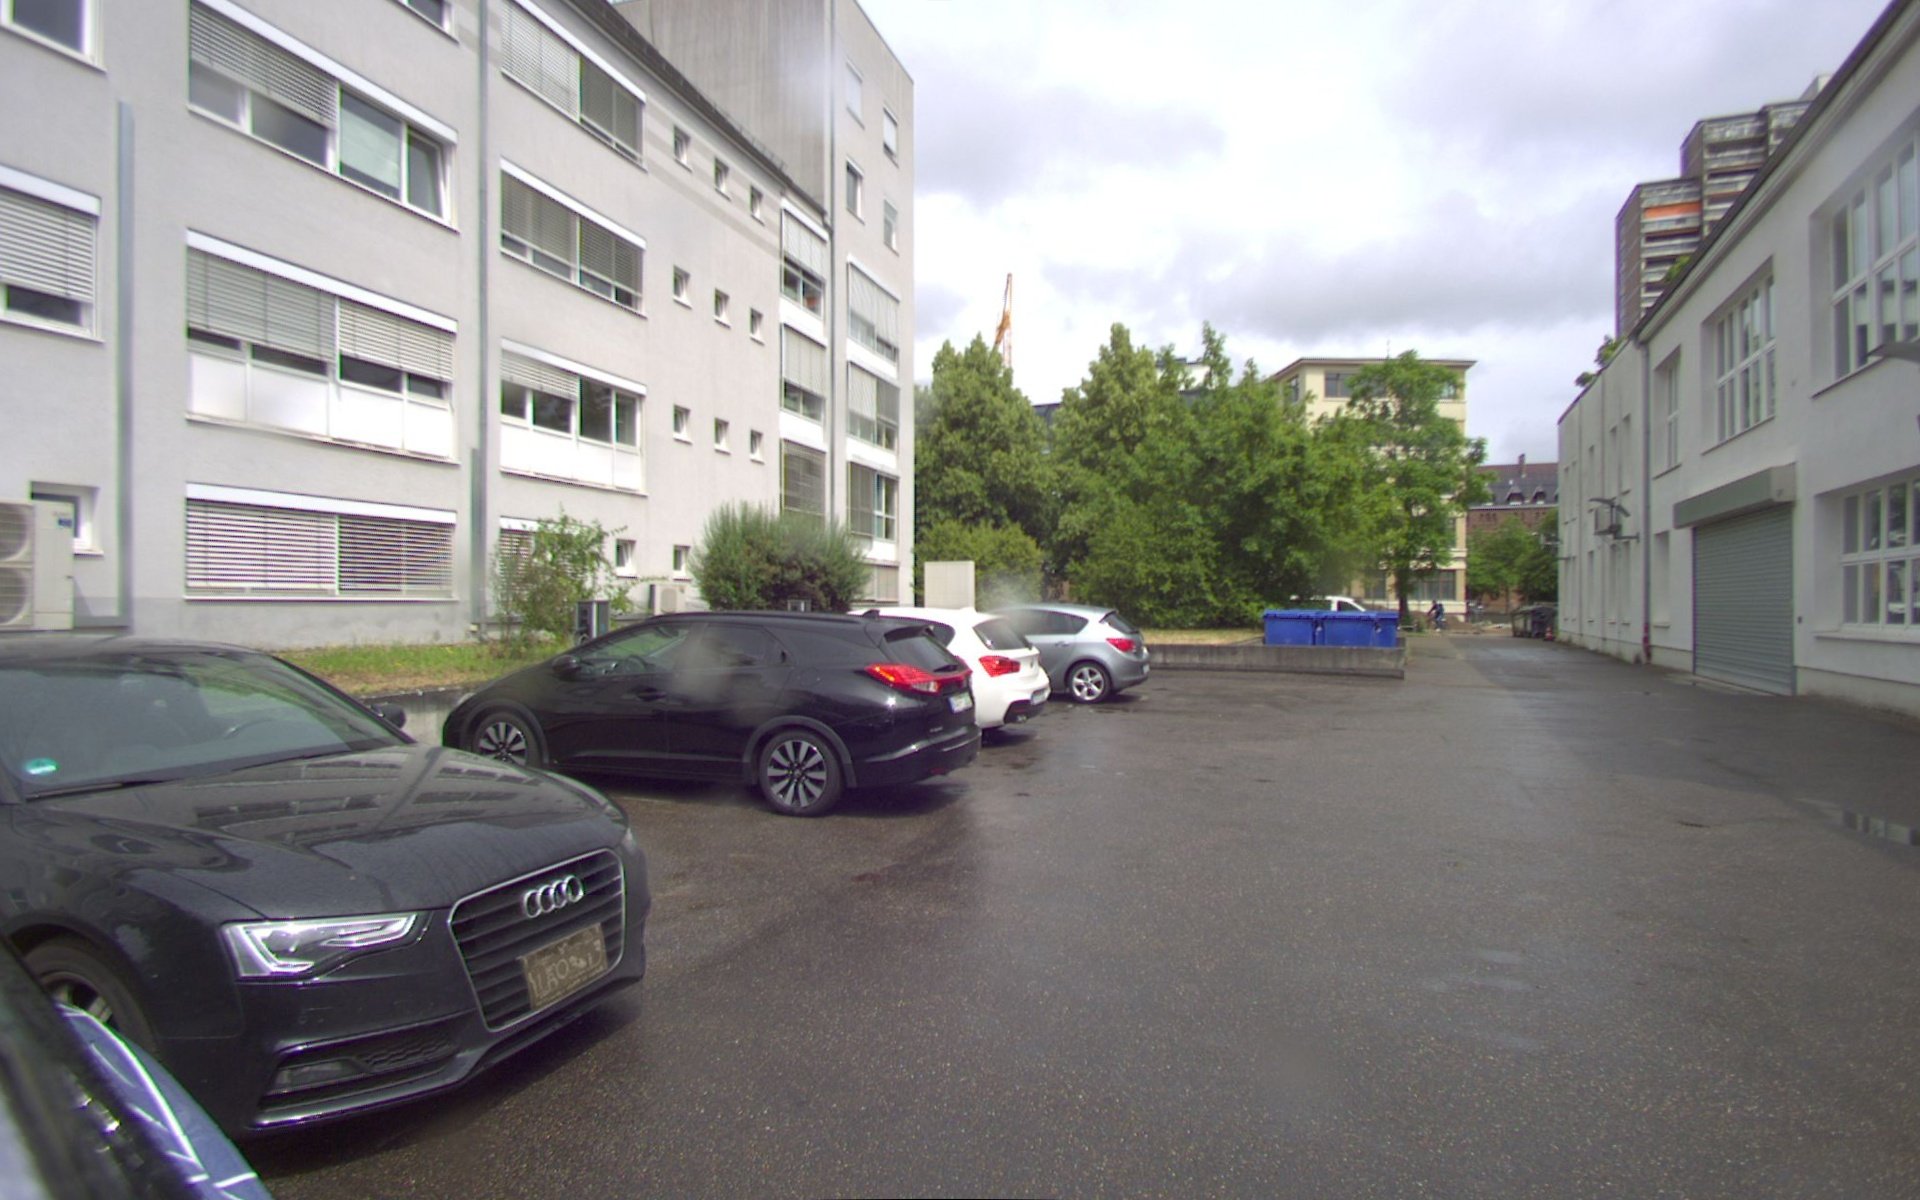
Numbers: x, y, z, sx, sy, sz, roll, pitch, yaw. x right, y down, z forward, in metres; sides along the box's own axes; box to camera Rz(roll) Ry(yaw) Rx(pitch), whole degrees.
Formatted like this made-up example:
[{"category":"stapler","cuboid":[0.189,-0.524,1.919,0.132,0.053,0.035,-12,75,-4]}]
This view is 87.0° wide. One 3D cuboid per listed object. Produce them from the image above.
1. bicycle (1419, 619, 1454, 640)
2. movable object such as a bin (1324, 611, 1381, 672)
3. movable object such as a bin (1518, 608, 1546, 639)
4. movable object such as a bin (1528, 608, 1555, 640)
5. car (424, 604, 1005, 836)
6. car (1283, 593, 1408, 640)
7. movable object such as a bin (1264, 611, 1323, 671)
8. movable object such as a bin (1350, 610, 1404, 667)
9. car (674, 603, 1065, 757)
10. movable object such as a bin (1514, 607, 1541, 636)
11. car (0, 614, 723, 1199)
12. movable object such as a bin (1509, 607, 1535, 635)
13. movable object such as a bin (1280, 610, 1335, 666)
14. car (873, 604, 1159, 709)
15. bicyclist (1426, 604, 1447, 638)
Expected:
[{"category":"bicycle","cuboid":[24.475,1.513,51.969,1.683,1.046,0.544,-1,0,-17]},{"category":"movable object such as a bin","cuboid":[9.024,0.924,23.229,1.090,1.335,1.197,-1,0,27]},{"category":"movable object such as a bin","cuboid":[25.999,1.046,45.997,1.041,1.366,1.196,-1,0,27]},{"category":"movable object such as a bin","cuboid":[25.462,1.029,44.313,0.974,1.366,0.911,-1,0,27]},{"category":"car","cuboid":[-1.927,0.792,8.143,4.280,1.453,1.753,1,0,18]},{"category":"car","cuboid":[14.918,0.631,39.202,4.316,1.740,1.705,-1,0,29]},{"category":"movable object such as a bin","cuboid":[7.840,0.937,23.772,1.126,1.338,1.197,-1,0,27]},{"category":"movable object such as a bin","cuboid":[10.163,0.918,24.660,1.126,1.338,1.197,-1,0,27]},{"category":"car","cuboid":[-1.006,0.788,11.440,4.093,1.453,1.685,1,0,20]},{"category":"movable object such as a bin","cuboid":[27.253,1.029,48.582,1.061,1.366,1.253,-1,0,27]},{"category":"car","cuboid":[-3.295,0.779,3.739,4.493,1.362,1.752,1,0,19]},{"category":"movable object such as a bin","cuboid":[27.682,1.024,49.853,1.061,1.366,1.253,-1,0,27]},{"category":"movable object such as a bin","cuboid":[8.681,0.925,25.253,1.126,1.338,1.197,-1,0,27]},{"category":"car","cuboid":[0.917,0.819,16.165,4.280,1.453,1.753,1,0,18]},{"category":"bicyclist","cuboid":[24.454,1.065,51.972,0.745,1.691,0.594,-1,0,-17]}]
